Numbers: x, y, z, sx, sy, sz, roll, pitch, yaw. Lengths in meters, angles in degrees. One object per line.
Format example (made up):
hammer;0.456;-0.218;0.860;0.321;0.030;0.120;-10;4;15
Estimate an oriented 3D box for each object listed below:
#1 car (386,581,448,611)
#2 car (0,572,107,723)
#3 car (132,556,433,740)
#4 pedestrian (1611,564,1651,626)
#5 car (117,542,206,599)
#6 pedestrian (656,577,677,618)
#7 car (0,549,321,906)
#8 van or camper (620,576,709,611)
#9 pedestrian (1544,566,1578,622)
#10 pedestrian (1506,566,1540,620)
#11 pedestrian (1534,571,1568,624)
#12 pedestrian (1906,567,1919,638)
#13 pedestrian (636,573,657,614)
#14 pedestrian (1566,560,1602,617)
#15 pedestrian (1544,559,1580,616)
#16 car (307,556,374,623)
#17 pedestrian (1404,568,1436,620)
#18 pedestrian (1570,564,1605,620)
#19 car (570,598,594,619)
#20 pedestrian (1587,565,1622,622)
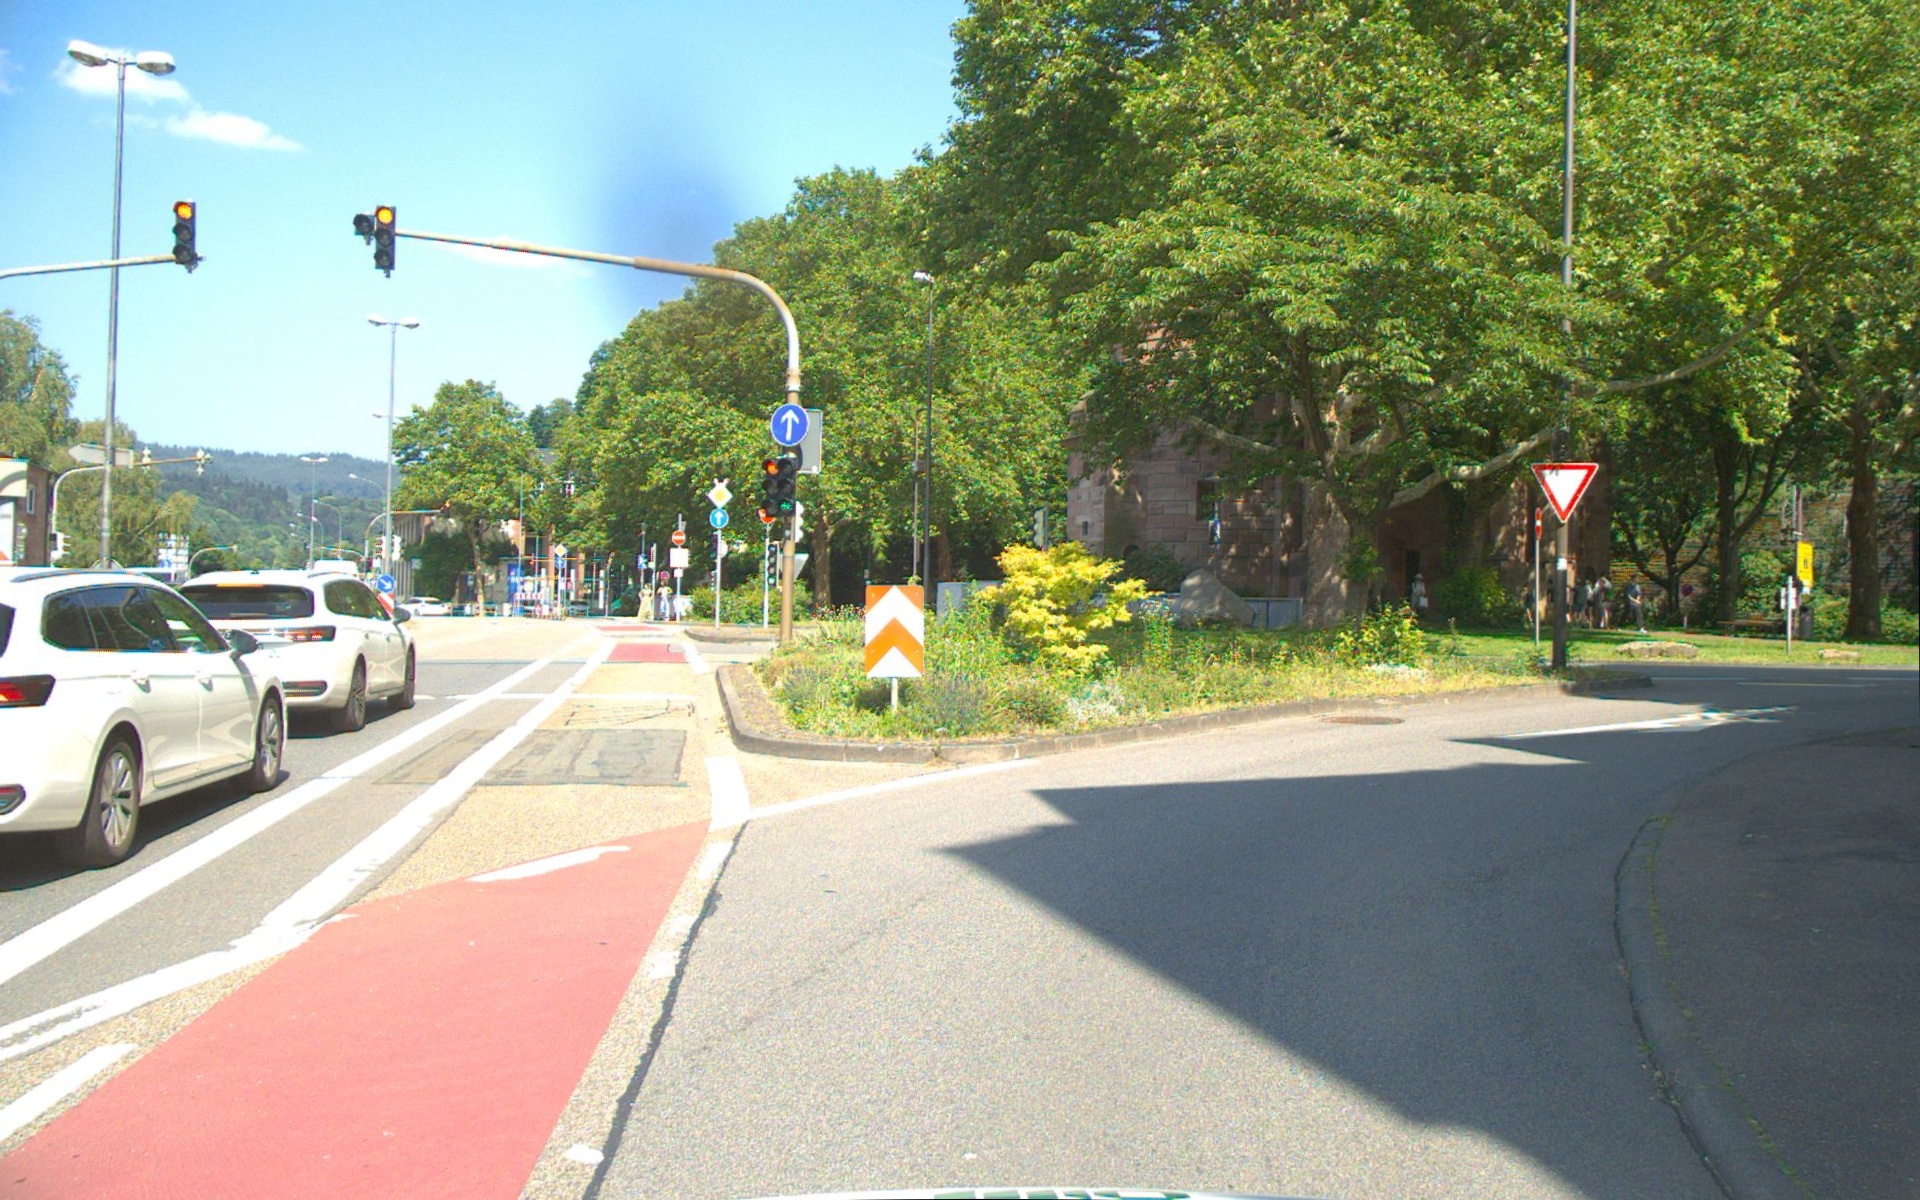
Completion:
car;-38.096;-0.268;115.972;3.909;2.049;1.941;0;1;27
car;-9.898;0.432;15.878;1.832;1.382;3.993;0;1;-8
car;-6.546;0.384;16.540;1.752;1.559;4.726;0;1;-9
pedestrian;19.819;-0.152;48.878;0.779;1.786;0.720;2;0;-14
car;-30.407;-1.142;63.136;2.178;2.114;5.022;0;1;-16
pedestrian;-12.502;-0.115;70.442;0.746;1.738;0.878;0;1;-1
car;-5.313;0.510;9.491;1.956;1.560;4.851;0;1;-8
van or camper;-16.464;-0.358;92.142;4.445;1.935;2.002;0;1;10
pedestrian;19.693;-0.201;54.209;0.779;1.786;0.663;2;0;-14
pedestrian;19.059;-0.242;55.990;0.779;1.786;0.663;2;0;-14
pedestrian;20.124;-0.082;56.317;0.779;1.786;0.663;2;0;-14
pedestrian;24.586;0.086;41.906;0.779;1.786;0.663;2;1;-14
pedestrian;-13.308;-0.278;70.228;0.746;1.749;0.795;0;1;-1
pedestrian;19.928;-0.373;52.801;0.779;1.786;0.663;2;0;-14
pedestrian;19.144;-0.396;52.597;0.779;1.786;0.663;2;0;-14
car;-25.451;-0.472;67.815;2.351;2.621;6.012;-1;1;-23
pedestrian;16.250;-0.233;58.436;0.779;1.813;0.873;0;1;-14
pedestrian;20.699;-0.264;54.563;0.779;1.786;0.663;2;0;-14
car;-29.318;0.663;128.357;1.701;1.541;3.611;0;1;-12
pedestrian;20.890;-0.213;53.633;0.779;1.786;0.663;2;0;-14
